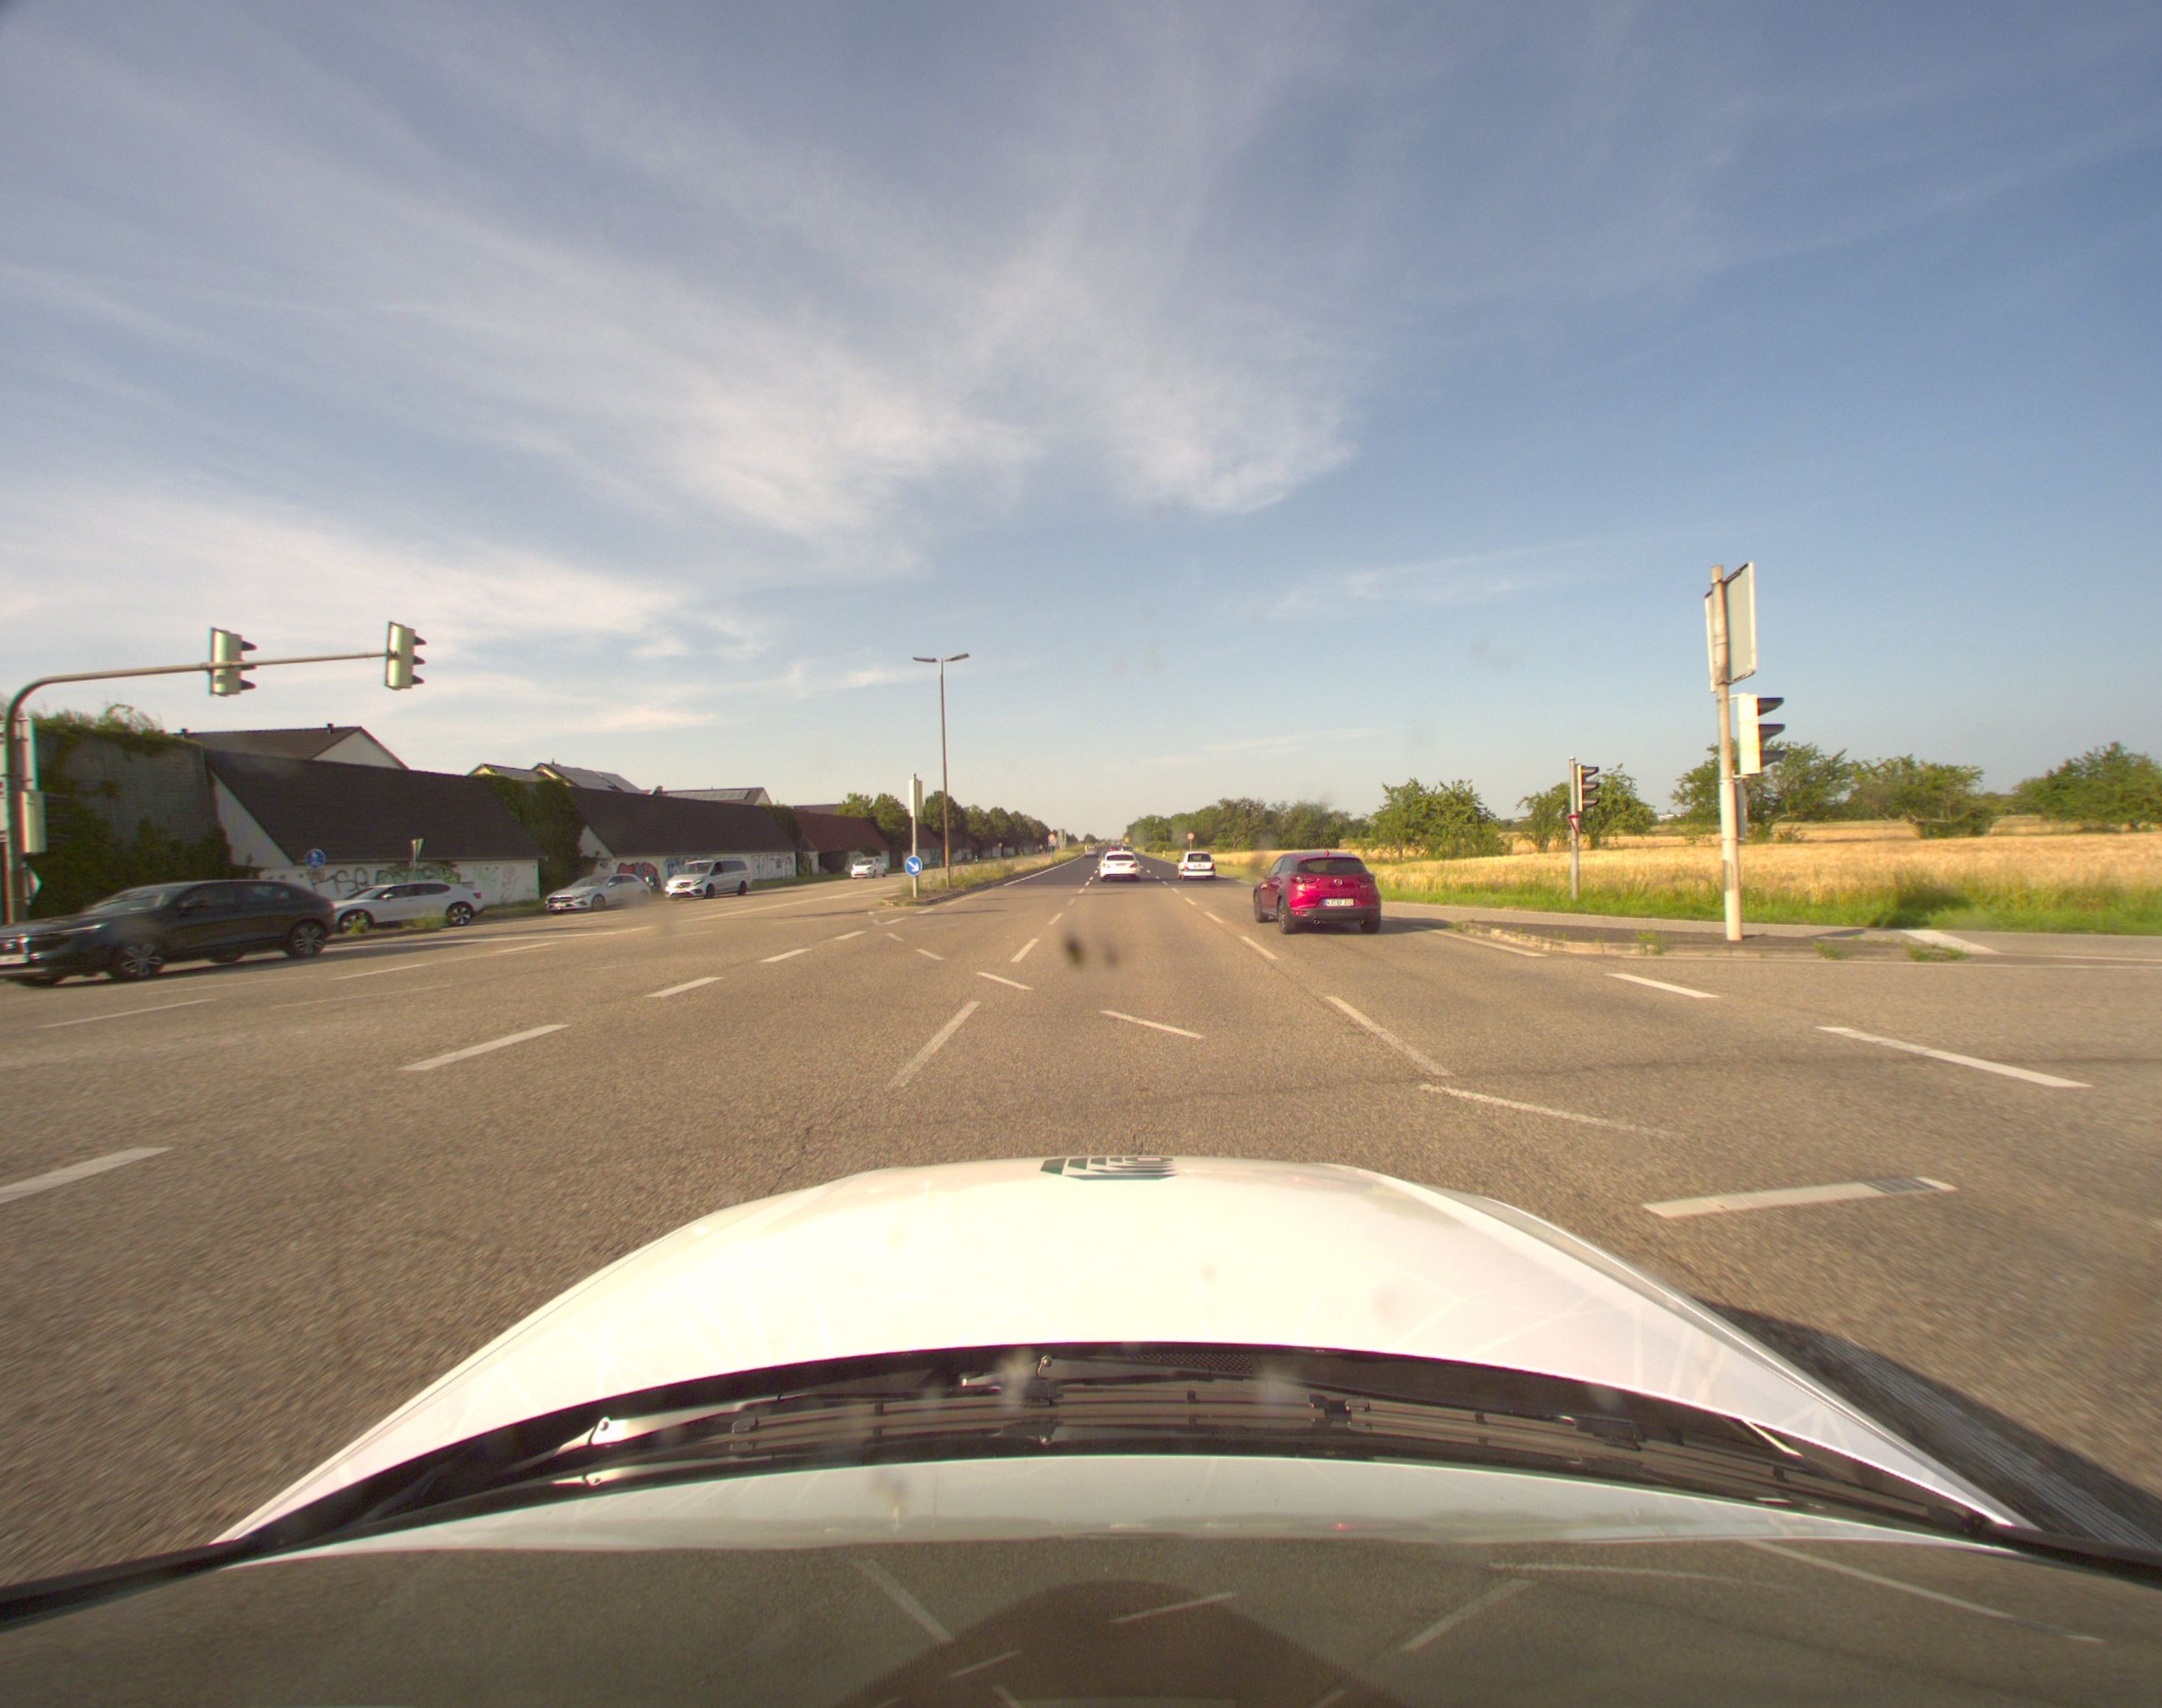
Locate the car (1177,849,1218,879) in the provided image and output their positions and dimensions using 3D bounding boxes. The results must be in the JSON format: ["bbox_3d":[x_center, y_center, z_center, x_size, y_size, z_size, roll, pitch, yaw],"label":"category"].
[{"bbox_3d":[5.691,0.455,40.140,1.611,1.387,3.953,0,0,2],"label":"car"}]

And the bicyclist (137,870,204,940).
[{"bbox_3d":[-27.118,1.485,24.279,0.767,2.013,1.063,0,0,2],"label":"bicyclist"}]

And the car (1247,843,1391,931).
[{"bbox_3d":[4.554,0.566,16.270,1.698,1.506,4.503,0,0,2],"label":"car"}]

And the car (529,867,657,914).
[{"bbox_3d":[-19.009,1.380,32.001,1.693,1.497,4.548,-5,-1,8],"label":"car"}]

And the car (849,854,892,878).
[{"bbox_3d":[-16.653,0.932,64.563,1.829,1.707,4.761,-4,0,3],"label":"car"}]

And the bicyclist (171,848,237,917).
[{"bbox_3d":[-26.026,0.823,24.190,0.767,2.013,1.063,0,0,2],"label":"bicyclist"}]

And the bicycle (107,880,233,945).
[{"bbox_3d":[-27.115,1.687,24.321,0.750,1.749,2.609,0,0,3],"label":"bicycle"}]

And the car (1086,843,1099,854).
[{"bbox_3d":[1.668,-0.803,117.012,1.750,1.618,4.005,0,0,4],"label":"car"}]

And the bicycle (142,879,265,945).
[{"bbox_3d":[-26.019,1.677,24.245,0.750,1.749,2.609,0,0,3],"label":"bicycle"}]

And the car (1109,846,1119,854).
[{"bbox_3d":[6.339,-0.765,155.632,1.805,1.436,3.860,0,0,2],"label":"car"}]

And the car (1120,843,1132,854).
[{"bbox_3d":[7.421,-0.917,134.712,1.821,1.728,4.002,0,0,2],"label":"car"}]

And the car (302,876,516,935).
[{"bbox_3d":[-20.563,1.517,25.243,1.933,1.497,4.785,-1,0,20],"label":"car"}]

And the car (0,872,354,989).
[{"bbox_3d":[-15.537,1.199,14.211,1.726,1.541,4.248,-4,0,1],"label":"car"}]

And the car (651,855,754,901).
[{"bbox_3d":[-17.866,1.067,38.818,1.898,1.928,5.460,-5,0,4],"label":"car"}]

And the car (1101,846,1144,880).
[{"bbox_3d":[1.986,0.403,39.188,1.986,1.516,4.002,0,0,2],"label":"car"}]
